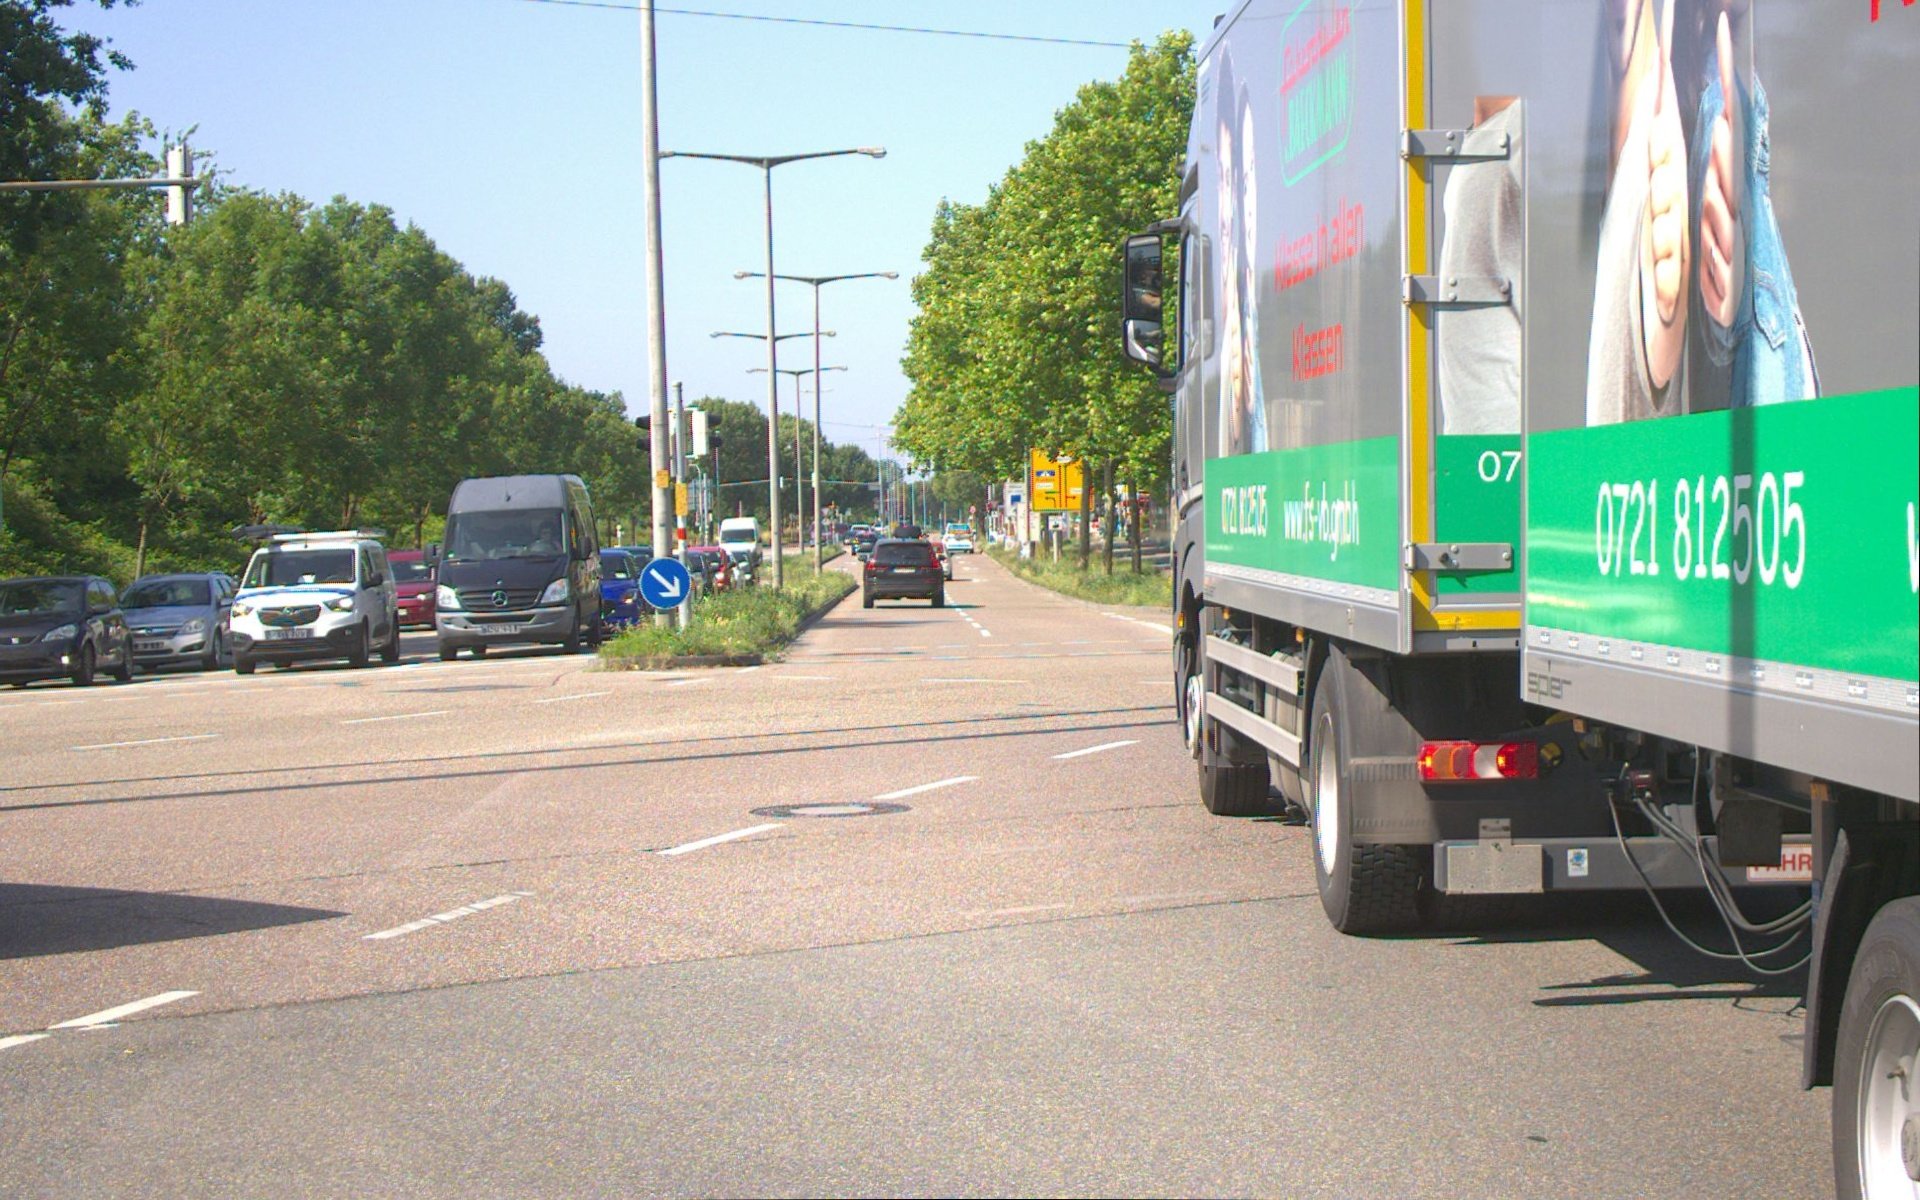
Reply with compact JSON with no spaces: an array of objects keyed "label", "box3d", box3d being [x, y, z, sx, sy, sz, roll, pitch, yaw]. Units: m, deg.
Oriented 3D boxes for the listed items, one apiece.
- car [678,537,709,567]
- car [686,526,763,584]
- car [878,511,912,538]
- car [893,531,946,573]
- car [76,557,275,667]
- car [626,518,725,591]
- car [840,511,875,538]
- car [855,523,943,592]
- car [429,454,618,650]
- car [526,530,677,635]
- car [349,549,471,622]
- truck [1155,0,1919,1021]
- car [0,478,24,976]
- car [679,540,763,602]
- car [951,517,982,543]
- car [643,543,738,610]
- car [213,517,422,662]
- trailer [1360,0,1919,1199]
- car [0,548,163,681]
[{"label":"car","box3d":[-18.160,-3.265,234.382,1.888,2.007,4.000,0,1,-1]},{"label":"car","box3d":[-6.820,-1.302,99.740,1.993,1.634,4.000,0,1,-1]},{"label":"car","box3d":[-4.015,-4.683,213.648,1.993,1.579,4.456,0,1,0]},{"label":"car","box3d":[-1.555,-1.857,133.930,1.993,1.579,4.456,0,1,0]},{"label":"car","box3d":[-11.813,0.147,52.048,1.993,1.535,4.236,-2,1,0]},{"label":"car","box3d":[-6.567,-1.061,79.657,1.993,1.634,4.000,0,1,-1]},{"label":"car","box3d":[-6.347,-4.682,213.283,1.993,1.579,4.456,0,1,0]},{"label":"car","box3d":[-1.414,-1.013,81.596,1.993,1.579,4.456,0,1,0]},{"label":"car","box3d":[-6.206,-0.684,49.434,1.993,2.598,5.134,-2,1,0]},{"label":"car","box3d":[-5.883,-0.301,56.836,1.993,1.579,4.000,-3,1,0]},{"label":"car","box3d":[-12.228,-0.338,76.663,1.993,1.579,4.456,0,1,0]},{"label":"truck","box3d":[2.501,-0.772,14.504,2.729,3.876,8.723,-1,1,0]},{"label":"car","box3d":[-5.499,0.444,13.503,1.787,1.831,3.998,0,1,-45]},{"label":"car","box3d":[-6.407,-0.784,92.506,1.993,1.634,4.000,0,1,-1]},{"label":"car","box3d":[0.420,-4.508,221.984,1.993,1.579,4.456,0,1,0]},{"label":"car","box3d":[-6.559,-0.592,84.021,1.993,1.579,4.000,0,1,0]},{"label":"car","box3d":[-8.966,-0.168,48.385,1.993,1.863,4.774,-2,1,0]},{"label":"trailer","box3d":[2.633,-0.608,6.230,2.736,3.863,7.736,-1,1,-1]},{"label":"car","box3d":[-11.881,0.168,45.174,1.911,1.636,3.737,-2,1,0]}]
